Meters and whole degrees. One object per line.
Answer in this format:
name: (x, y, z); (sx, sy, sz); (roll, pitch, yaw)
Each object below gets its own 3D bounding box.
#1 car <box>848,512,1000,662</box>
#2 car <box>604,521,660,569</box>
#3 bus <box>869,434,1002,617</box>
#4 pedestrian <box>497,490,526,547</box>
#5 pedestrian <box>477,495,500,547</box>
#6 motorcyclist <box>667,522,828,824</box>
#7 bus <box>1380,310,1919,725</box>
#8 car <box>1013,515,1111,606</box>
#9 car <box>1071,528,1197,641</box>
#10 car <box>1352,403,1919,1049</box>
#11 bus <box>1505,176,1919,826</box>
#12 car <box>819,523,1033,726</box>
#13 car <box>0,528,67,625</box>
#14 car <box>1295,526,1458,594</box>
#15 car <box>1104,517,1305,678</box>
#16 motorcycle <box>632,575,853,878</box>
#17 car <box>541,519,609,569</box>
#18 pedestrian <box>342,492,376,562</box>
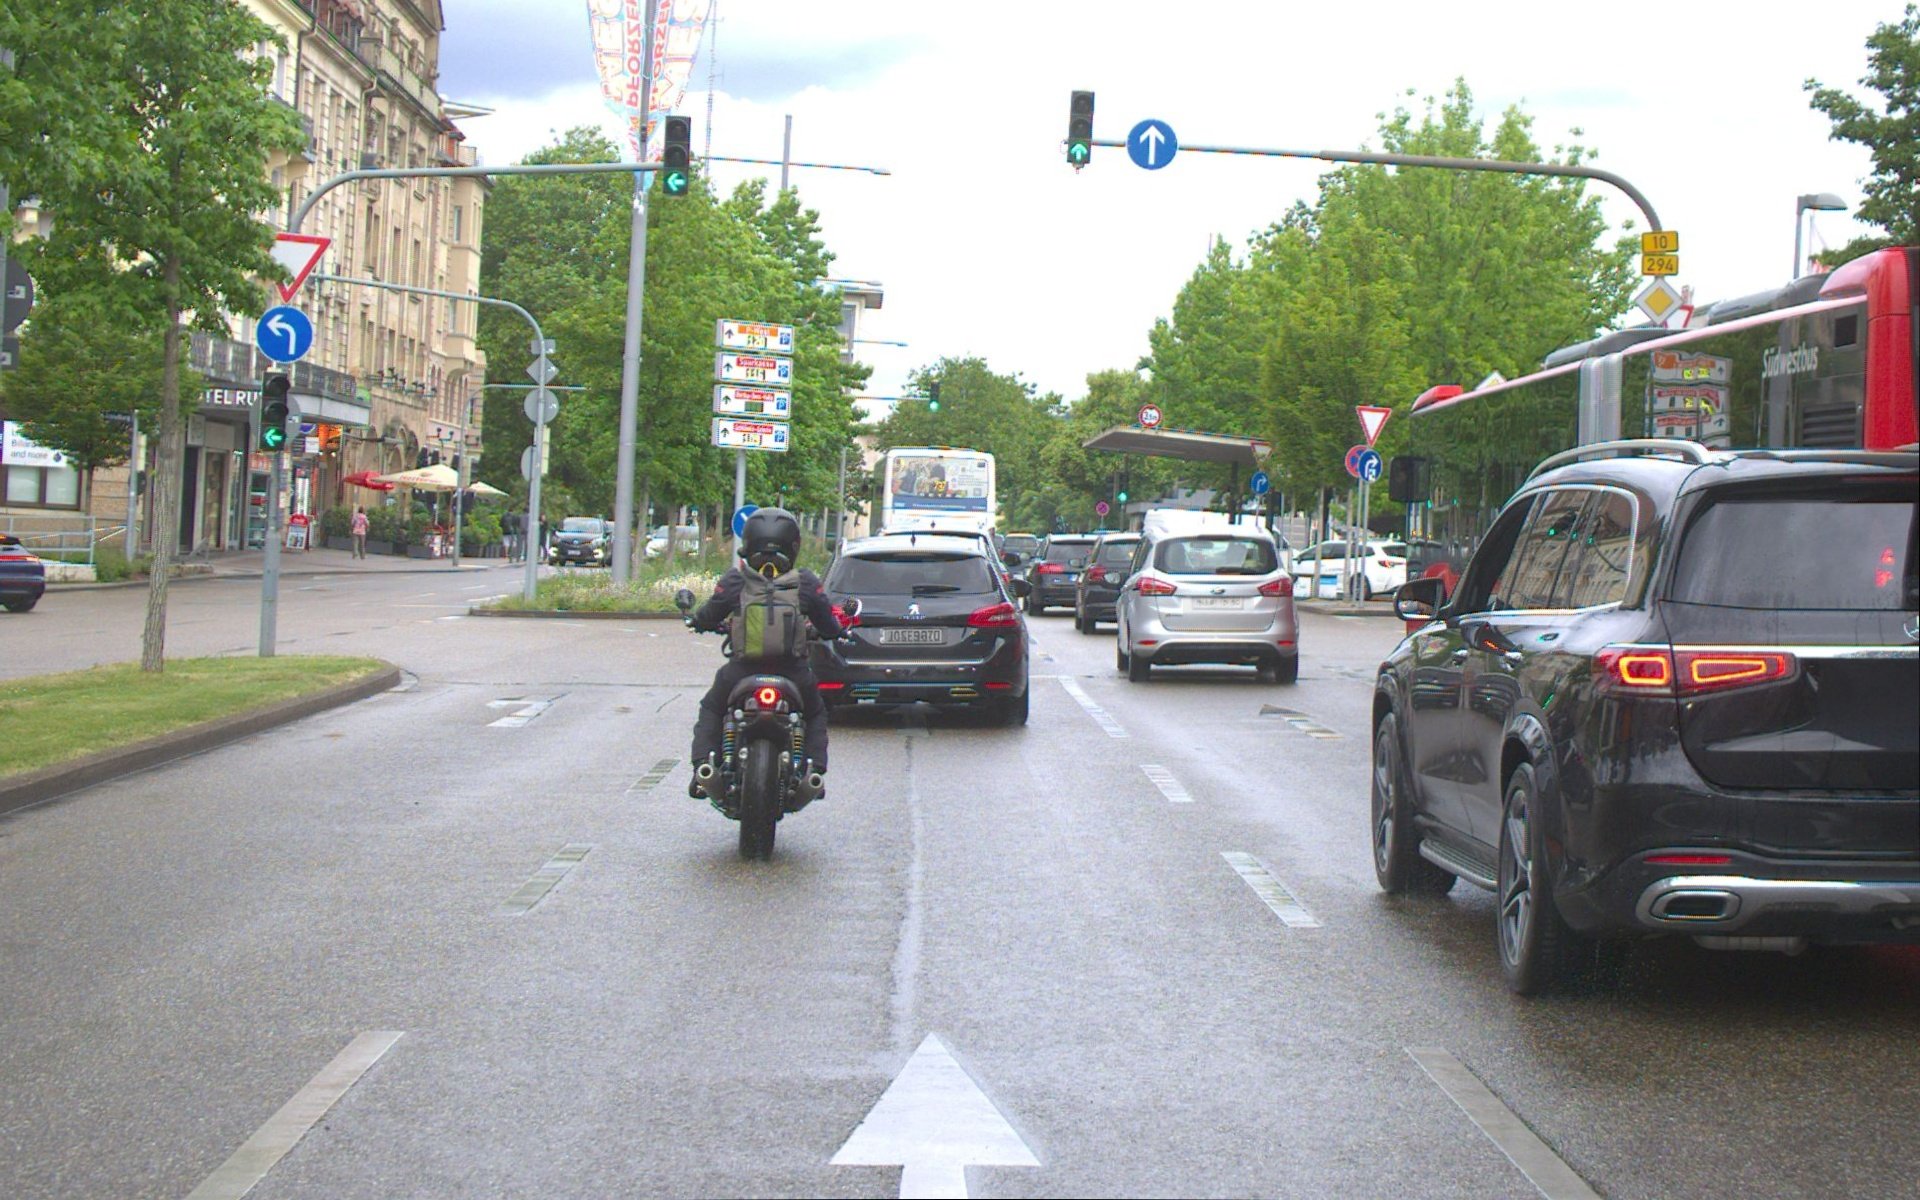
car: (-0.401, -0.182, 37.849); (1.575, 1.562, 3.871); (0, 1, -1)
car: (-10.903, -1.841, 114.559); (1.575, 1.562, 3.430); (0, 1, -1)
bus: (-0.677, -1.715, 82.137); (2.837, 3.974, 11.864); (2, 1, -1)
pedestrian: (-15.433, -2.805, 118.402); (0.724, 1.959, 0.826); (1, 1, -27)
pedestrian: (-16.445, -2.756, 119.936); (0.561, 1.772, 0.498); (2, 1, 34)
motorcyclist: (-0.967, 0.321, 15.754); (0.641, 1.343, 0.689); (1, 1, 3)
bus: (6.154, -0.752, 32.139); (3.291, 3.278, 8.850); (1, 1, 0)
car: (1.773, -0.719, 60.698); (1.575, 1.562, 3.796); (0, 1, -1)
car: (2.483, -0.250, 49.699); (1.575, 1.562, 3.871); (0, 1, -1)
car: (2.703, 0.309, 12.393); (1.957, 1.869, 4.874); (0, 1, -1)
bus: (6.170, -0.574, 22.842); (3.286, 3.280, 10.878); (1, 1, 0)
car: (-0.251, 0.136, 27.370); (1.575, 1.499, 3.871); (0, 1, 0)
car: (-17.145, -0.409, 57.291); (4.397, 1.565, 1.819); (1, 1, 31)
car: (9.811, -0.965, 81.134); (1.576, 1.562, 3.794); (-1, 2, -39)
car: (2.457, -0.066, 35.316); (1.741, 1.562, 3.871); (0, 1, -1)
motorcycle: (-0.957, 0.532, 15.563); (0.793, 1.258, 1.855); (0, 1, 3)
car: (-12.117, -1.769, 108.350); (1.780, 1.562, 3.430); (0, 1, -1)
pedestrian: (-17.409, -2.111, 99.567); (0.724, 2.007, 0.826); (1, 1, -27)
